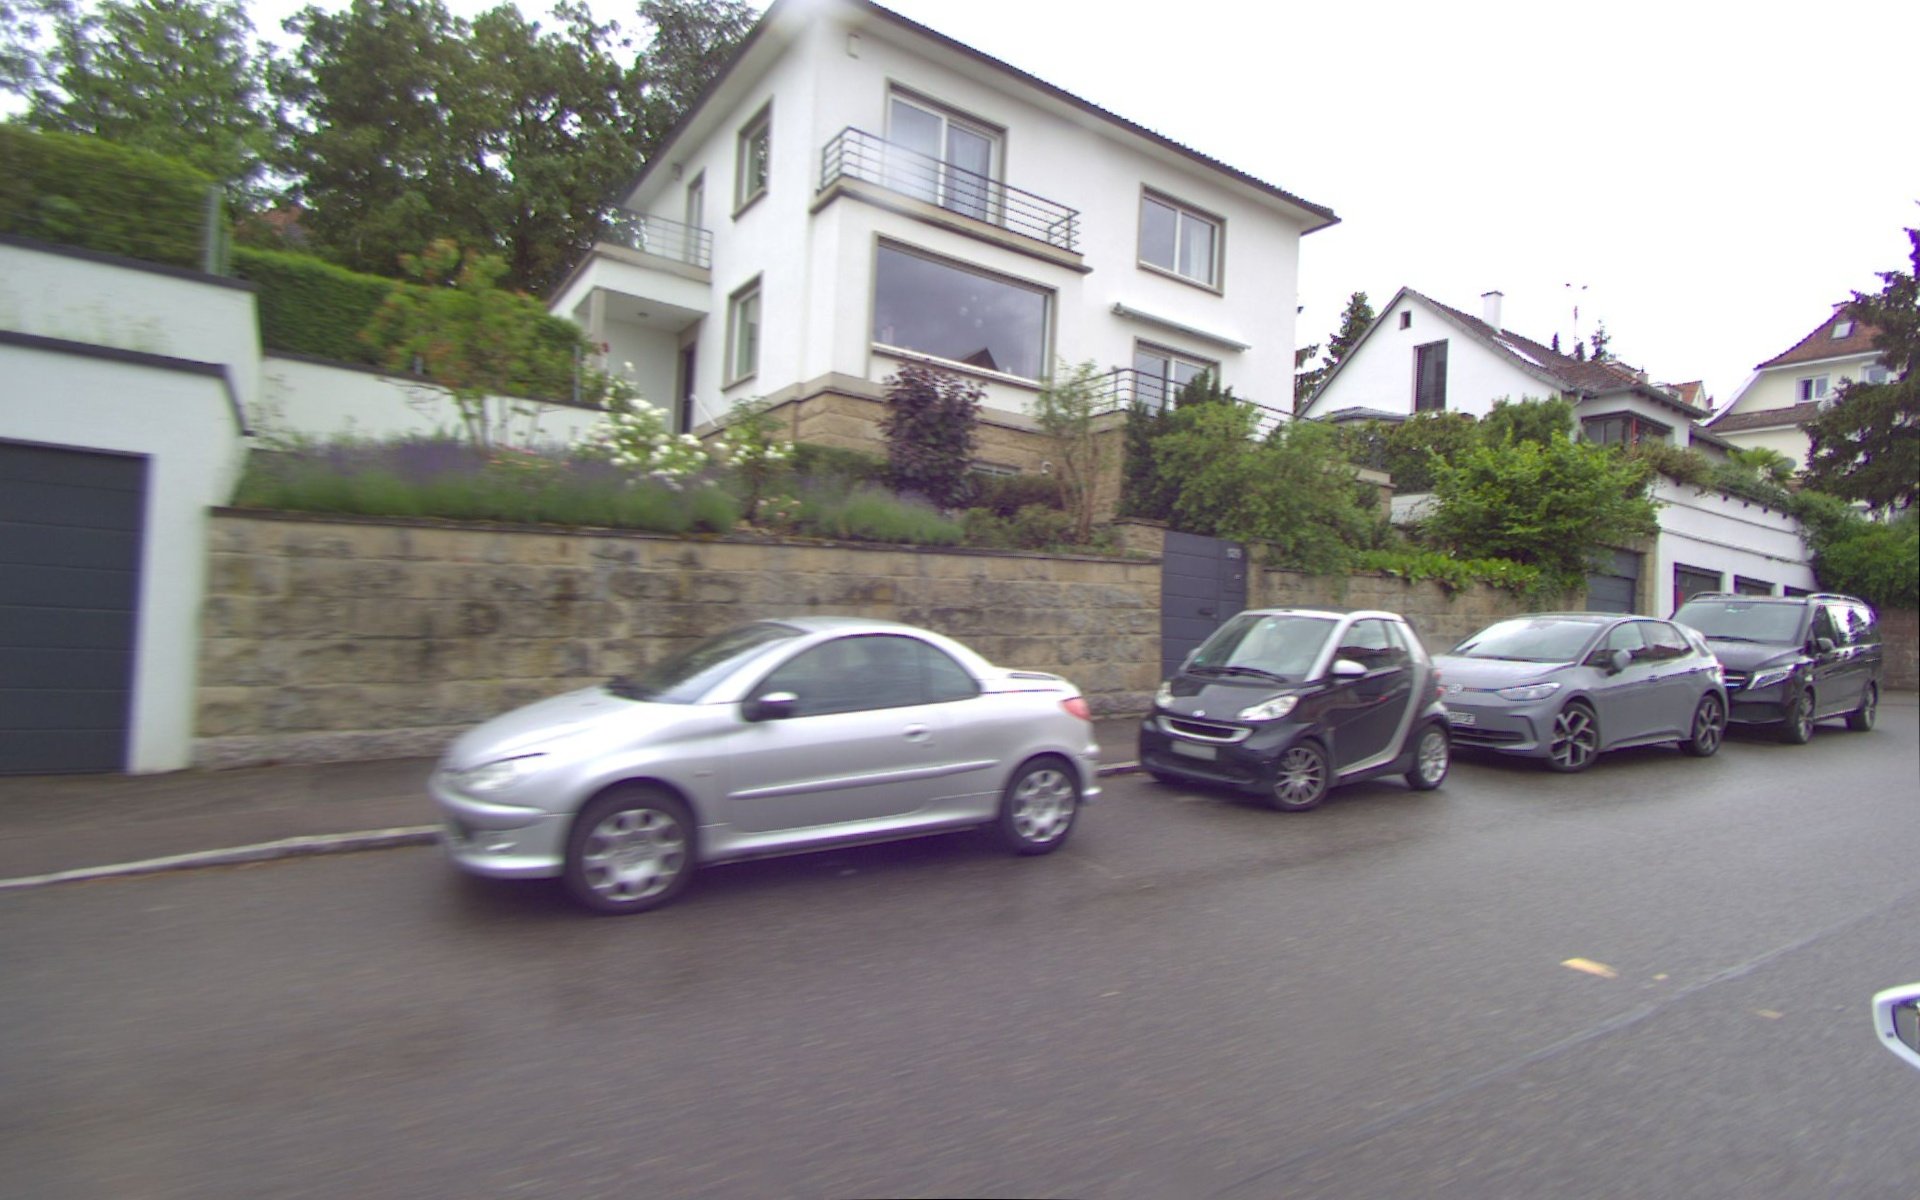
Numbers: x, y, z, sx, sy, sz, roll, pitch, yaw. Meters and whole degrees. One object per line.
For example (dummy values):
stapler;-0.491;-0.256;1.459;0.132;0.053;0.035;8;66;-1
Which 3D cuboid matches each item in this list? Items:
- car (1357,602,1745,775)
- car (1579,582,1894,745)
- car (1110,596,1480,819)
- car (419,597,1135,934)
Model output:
car;6.637;0.872;11.187;4.292;1.535;1.888;2;1;-31
car;11.152;0.793;14.267;5.542;1.885;2.113;2;1;-37
car;2.932;0.786;8.592;3.130;1.544;1.486;1;0;-37
car;-0.946;0.728;5.887;3.800;1.355;1.600;2;1;-33
